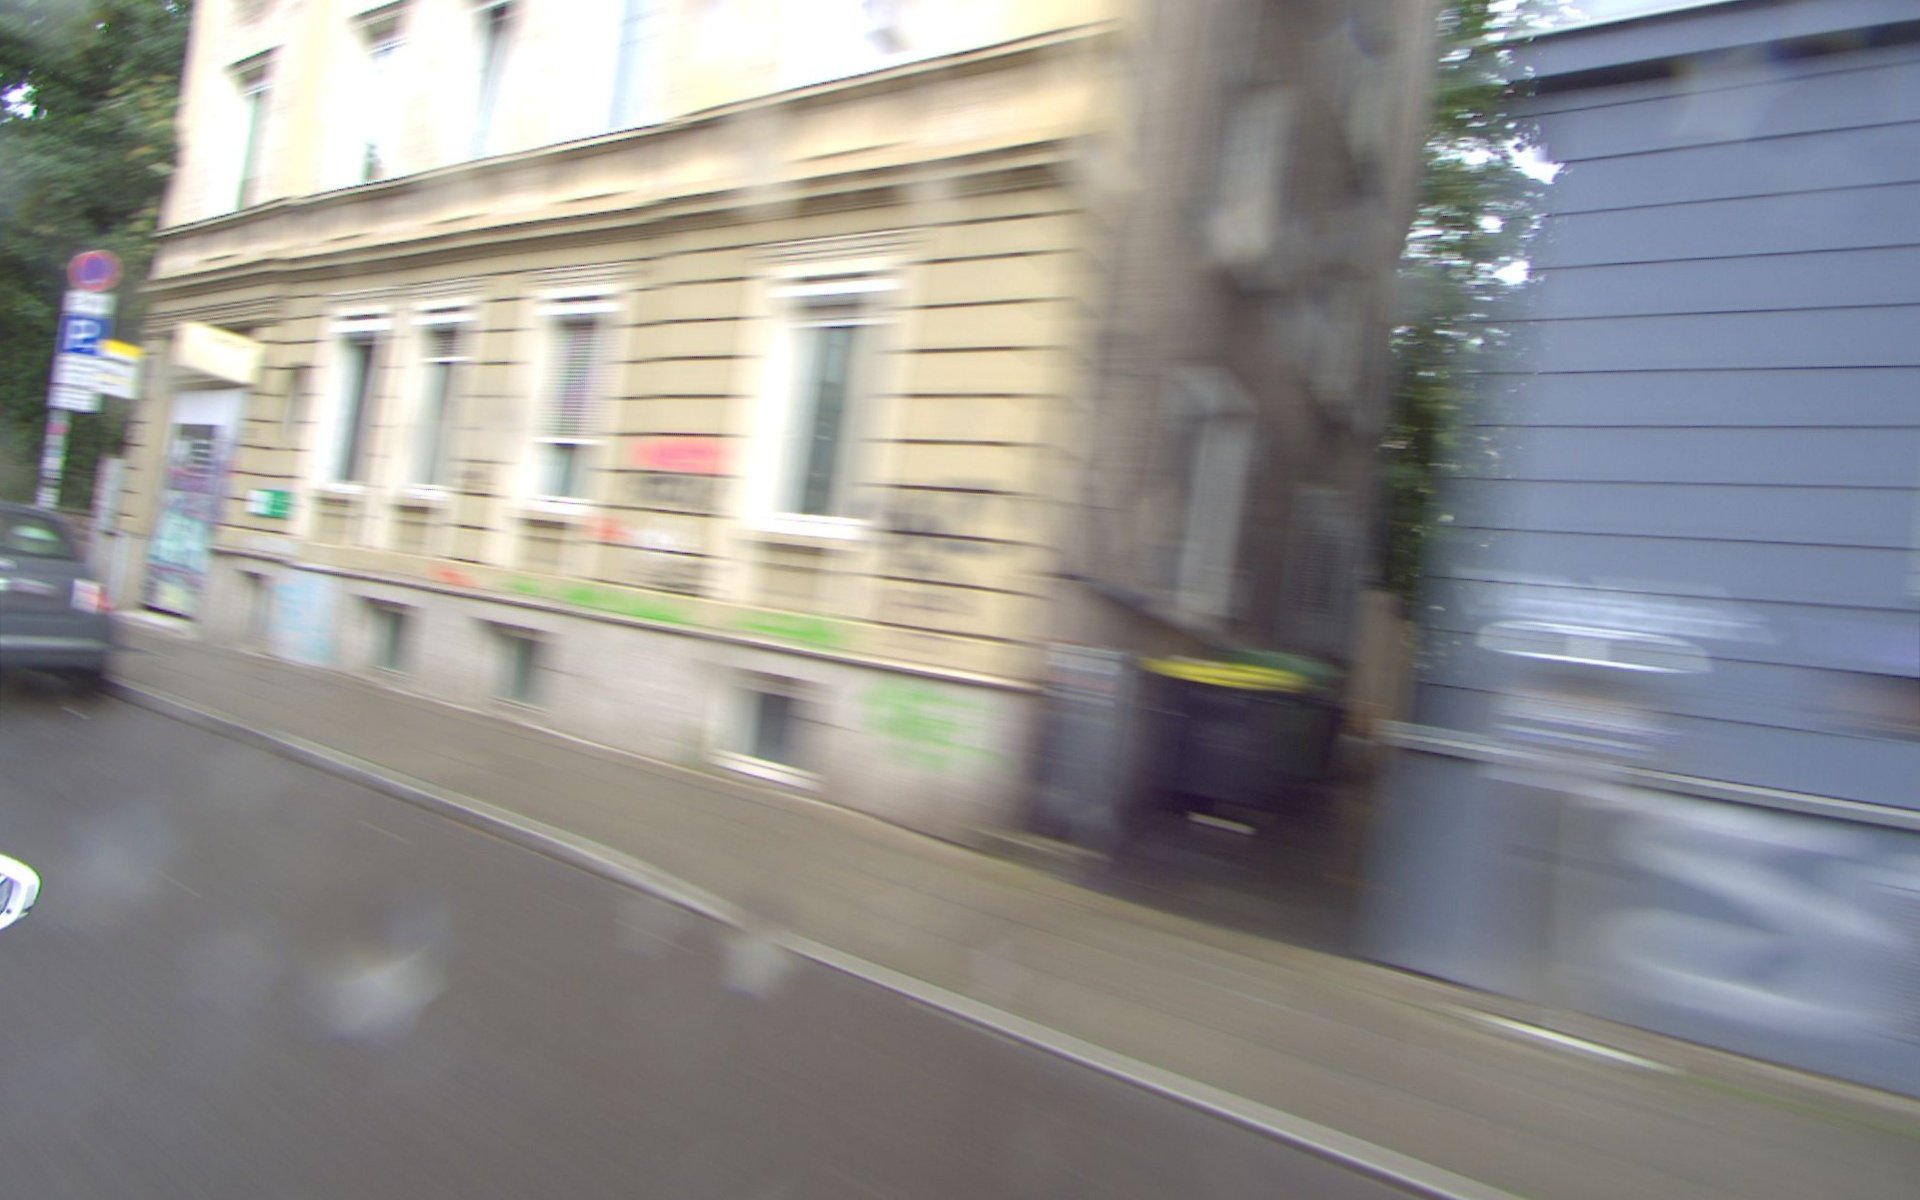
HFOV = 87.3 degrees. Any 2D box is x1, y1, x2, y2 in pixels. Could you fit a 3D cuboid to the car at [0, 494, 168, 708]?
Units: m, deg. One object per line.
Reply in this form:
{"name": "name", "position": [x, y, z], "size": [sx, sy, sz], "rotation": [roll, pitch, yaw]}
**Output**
{"name": "car", "position": [-8.533, -0.186, 8.288], "size": [3.933, 1.505, 1.743], "rotation": [7, -3, 31]}
